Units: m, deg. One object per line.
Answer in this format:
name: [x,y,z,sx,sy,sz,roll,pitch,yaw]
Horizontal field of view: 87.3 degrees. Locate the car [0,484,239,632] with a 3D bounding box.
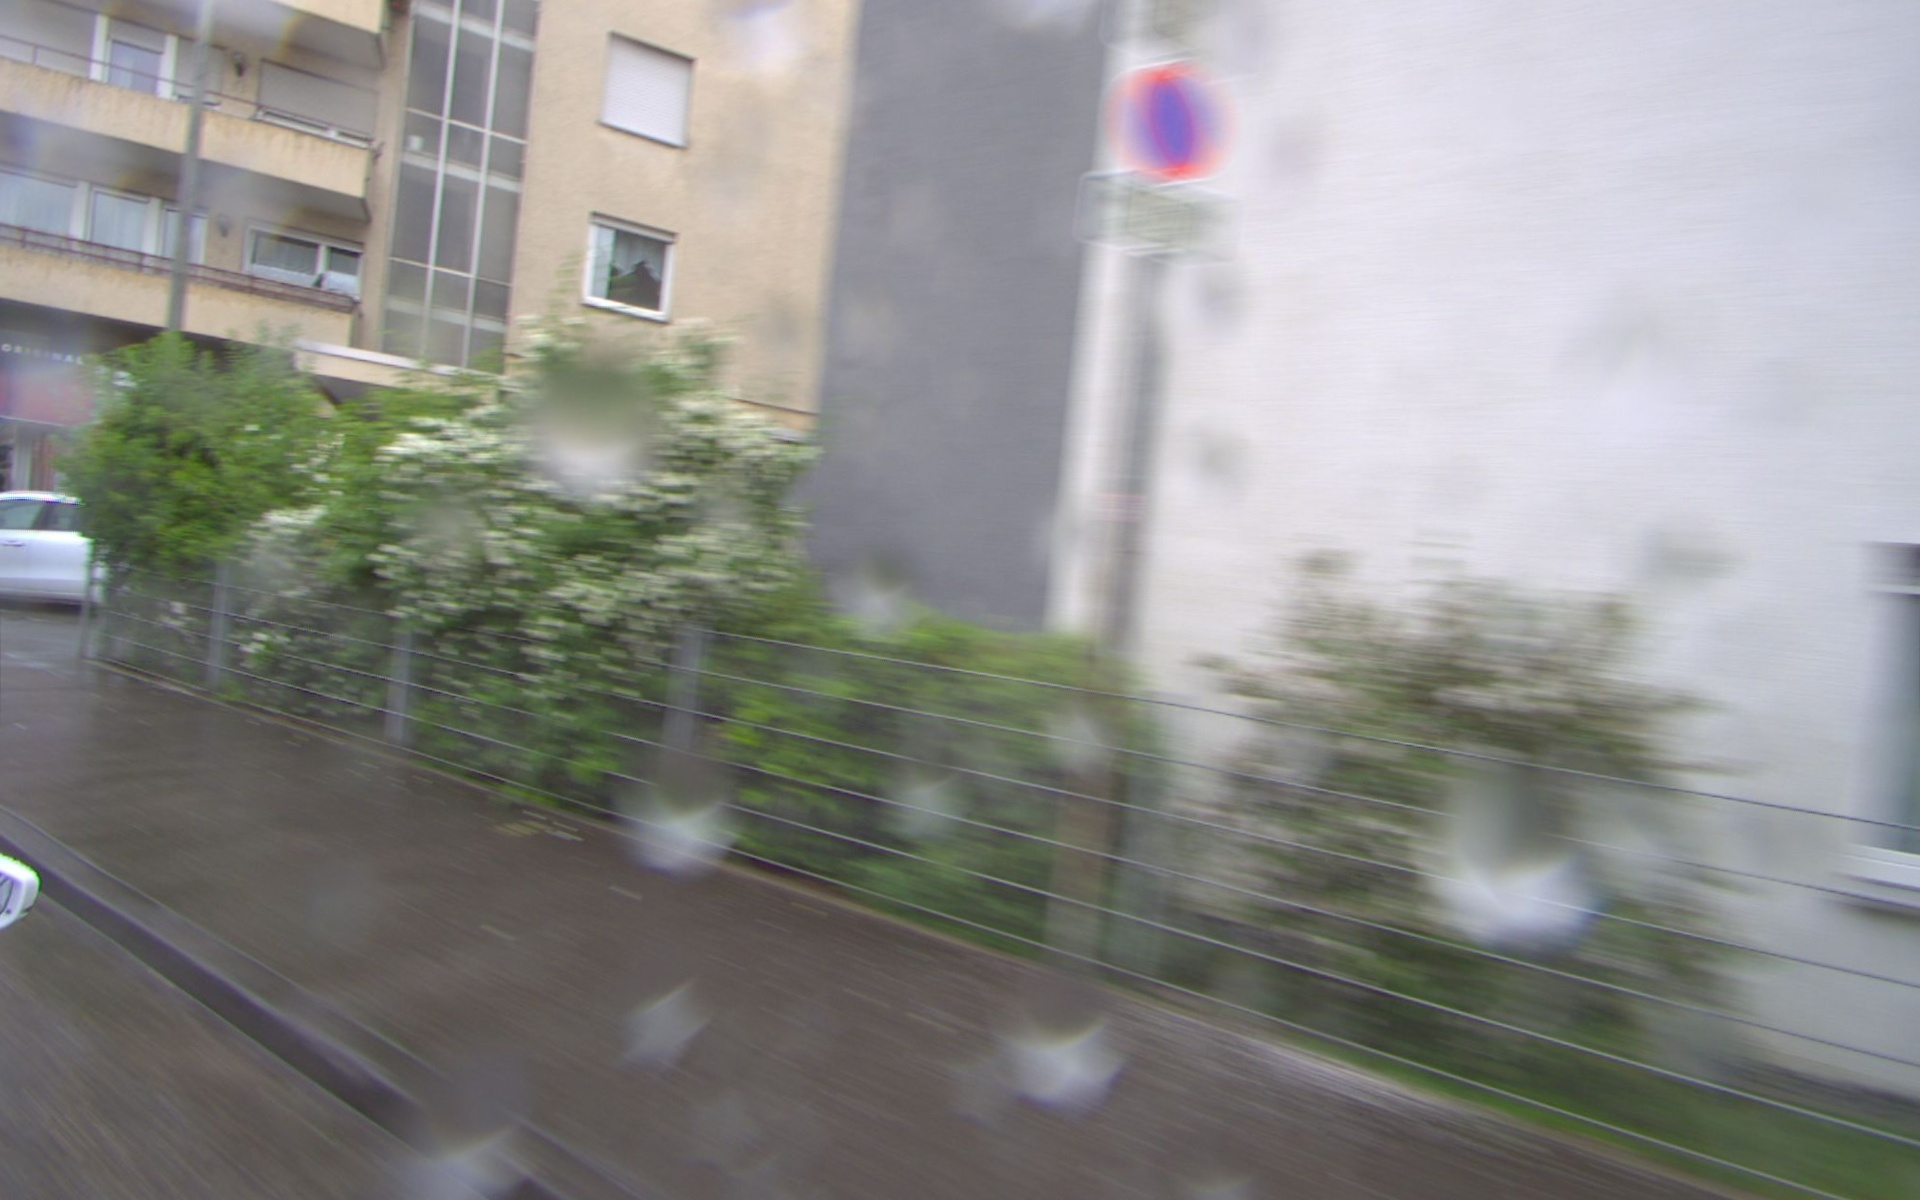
car: [-11.993,-0.670,12.772,4.220,1.513,1.860,8,1,-26]
